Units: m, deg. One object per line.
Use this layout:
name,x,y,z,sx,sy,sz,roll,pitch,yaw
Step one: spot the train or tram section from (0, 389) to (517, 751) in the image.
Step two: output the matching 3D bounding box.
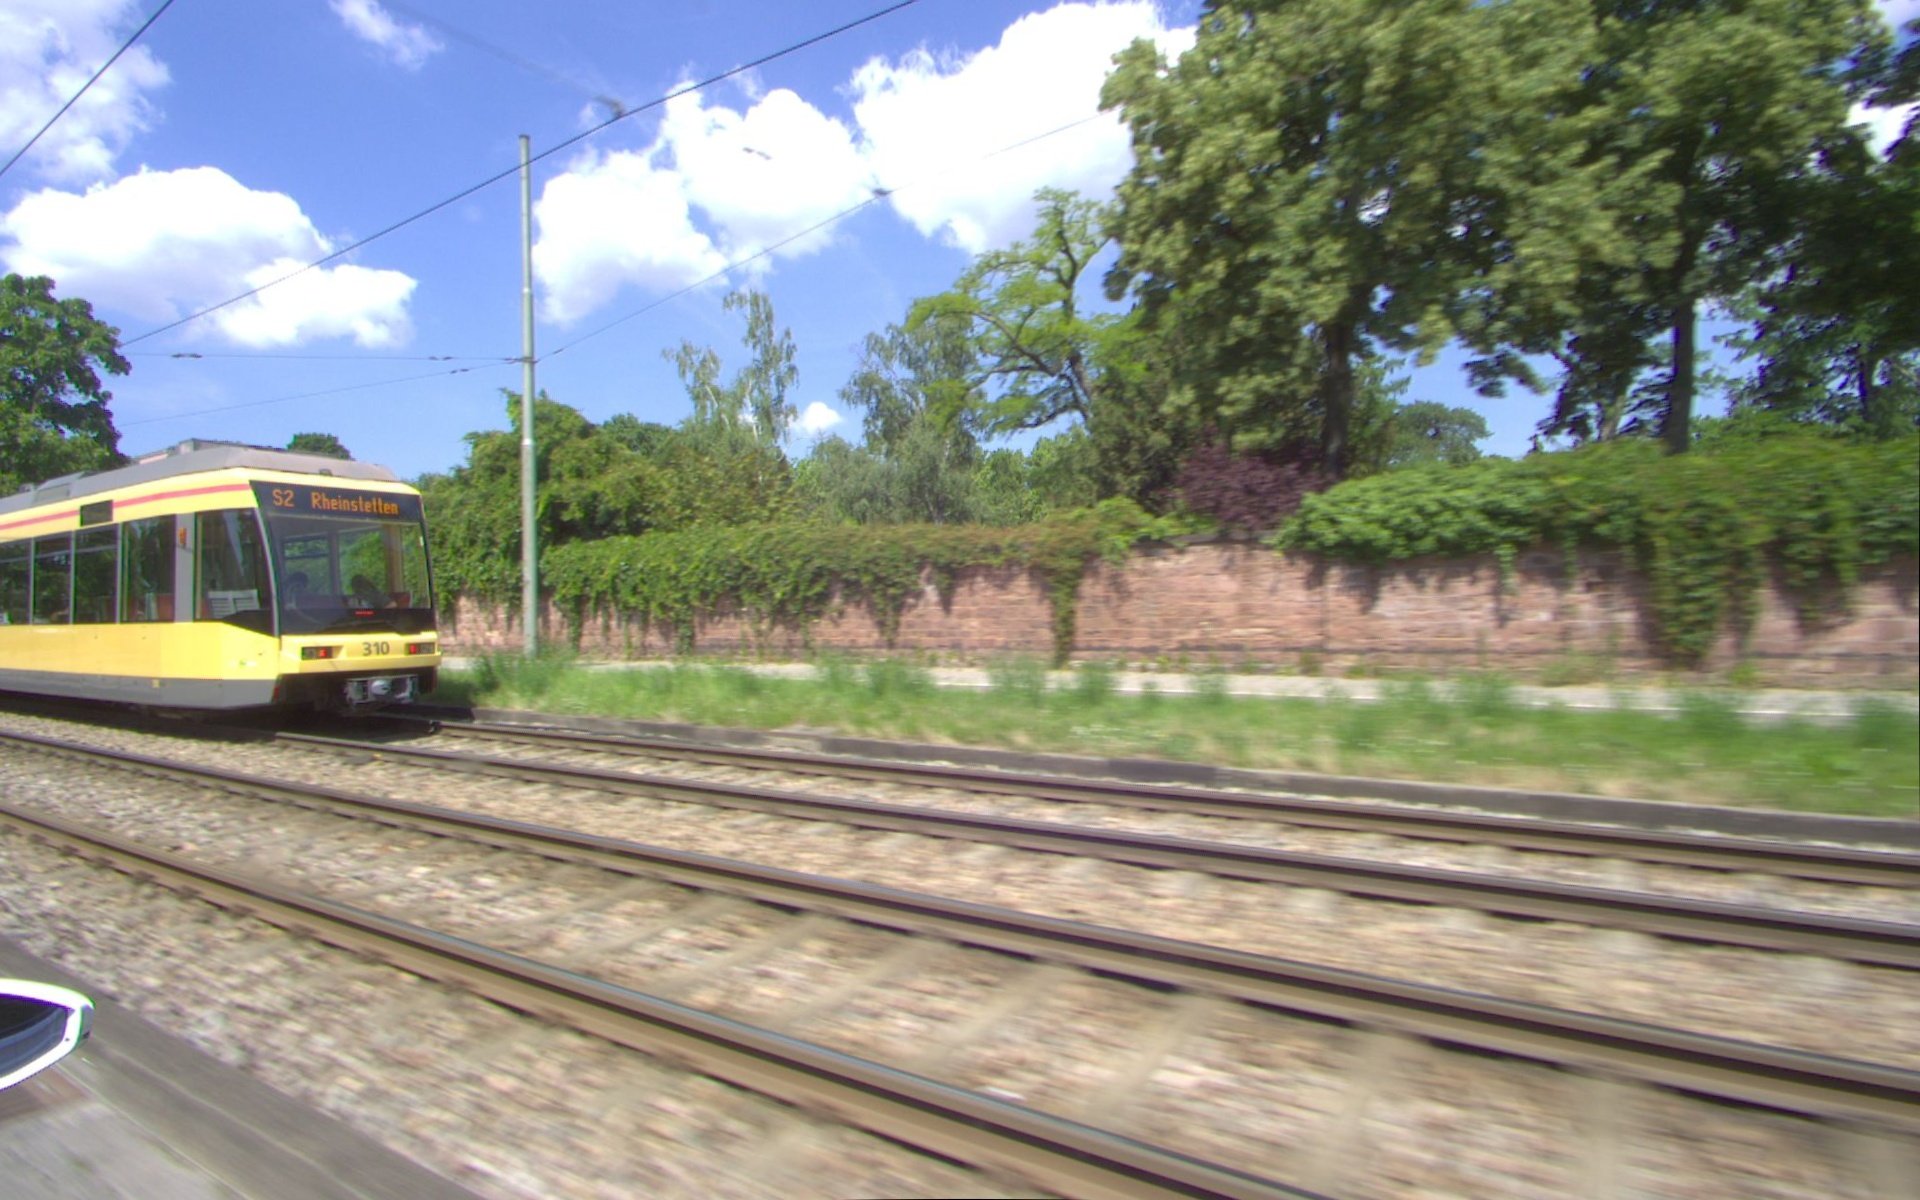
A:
train or tram section,-14.005,-0.181,16.623,18.133,3.740,2.937,-1,-1,34

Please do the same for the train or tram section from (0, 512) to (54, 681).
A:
train or tram section,-29.771,0.030,27.265,20.004,3.740,2.936,-1,-1,34
